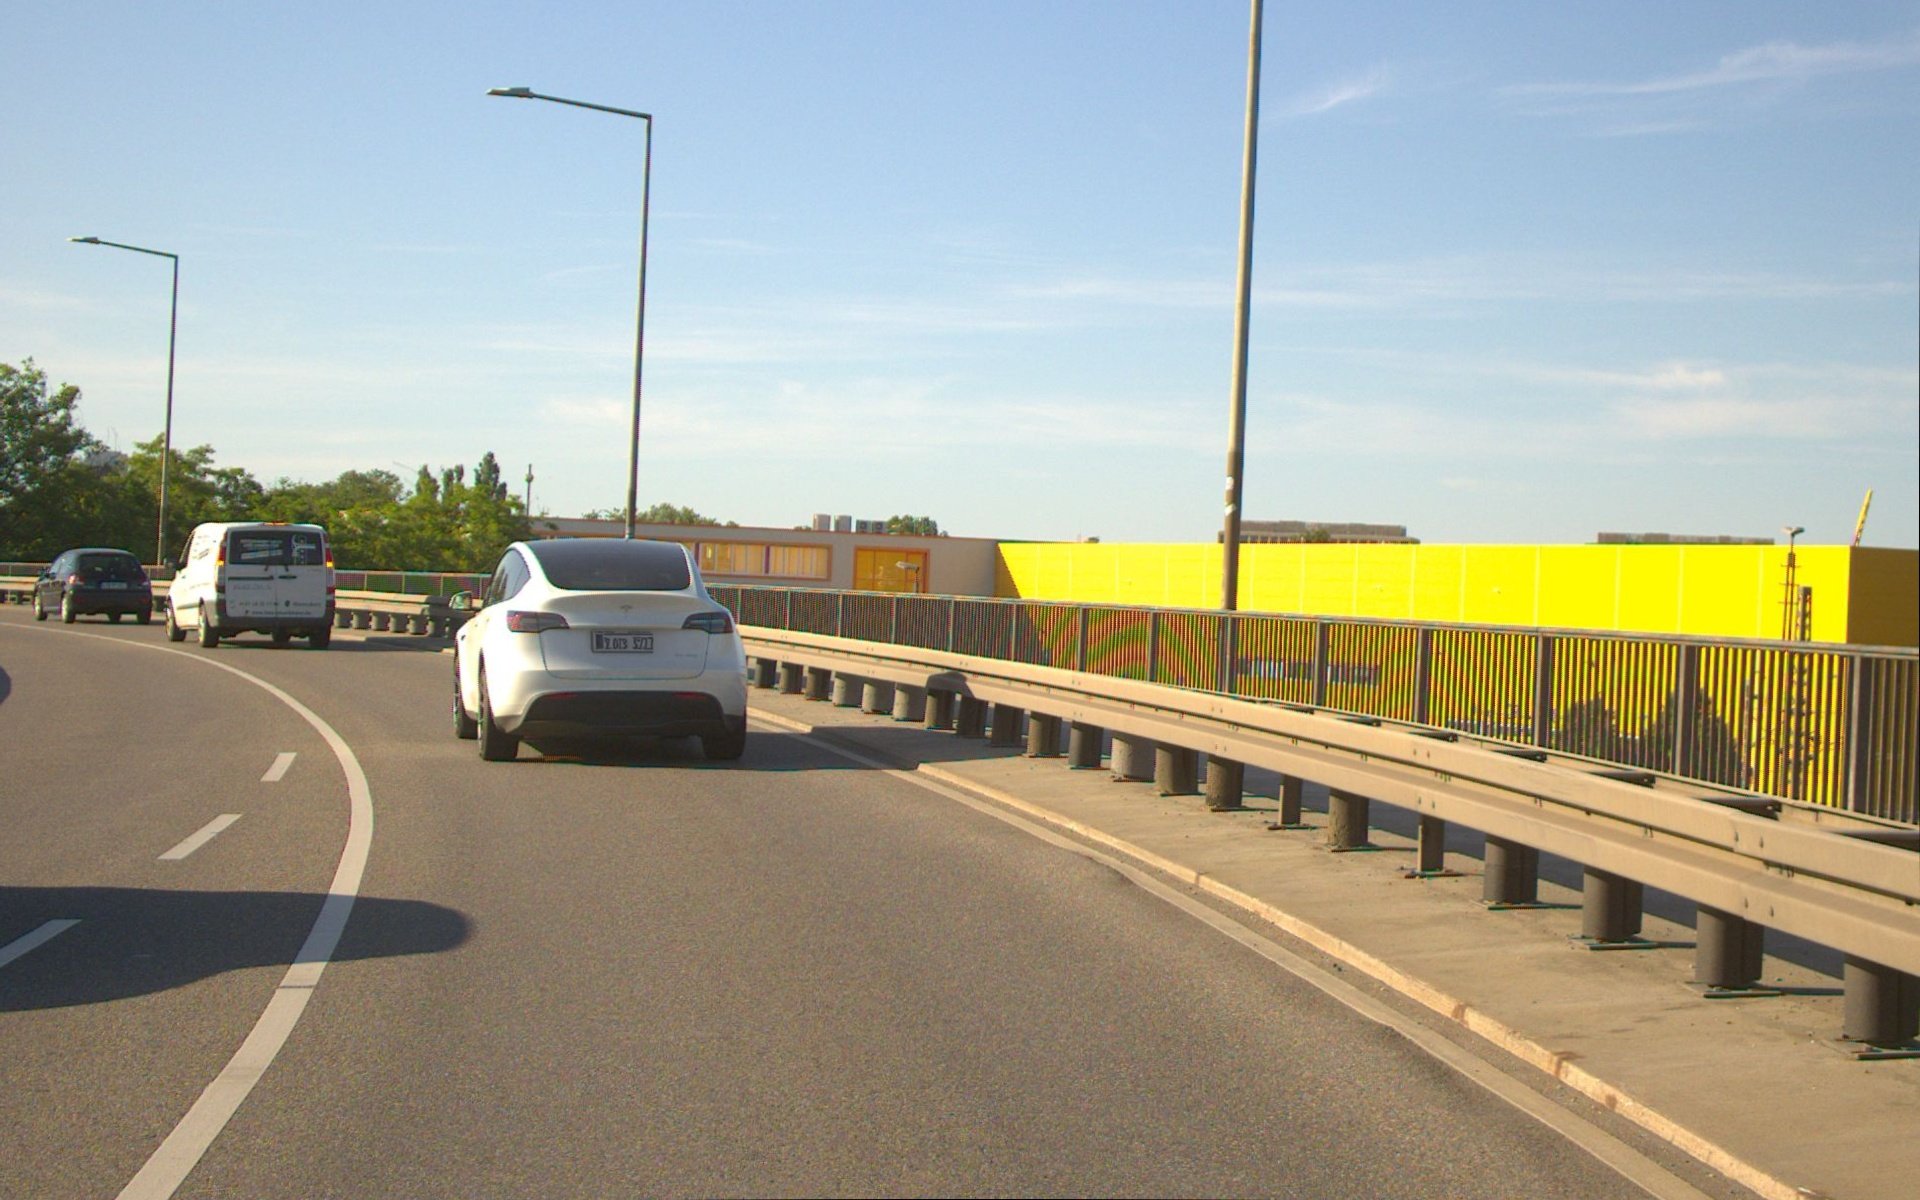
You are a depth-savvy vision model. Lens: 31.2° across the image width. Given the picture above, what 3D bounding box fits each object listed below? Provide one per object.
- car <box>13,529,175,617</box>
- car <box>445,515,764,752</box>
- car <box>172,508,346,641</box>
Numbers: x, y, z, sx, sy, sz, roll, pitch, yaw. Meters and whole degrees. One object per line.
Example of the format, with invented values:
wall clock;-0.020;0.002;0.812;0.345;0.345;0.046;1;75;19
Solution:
car;-16.741;-0.519;66.323;1.968;1.632;4.000;-1;1;-31
car;-2.776;0.218;26.034;1.985;1.632;4.064;-1;0;-12
car;-10.746;-0.390;52.469;2.004;1.934;4.469;0;1;-19
